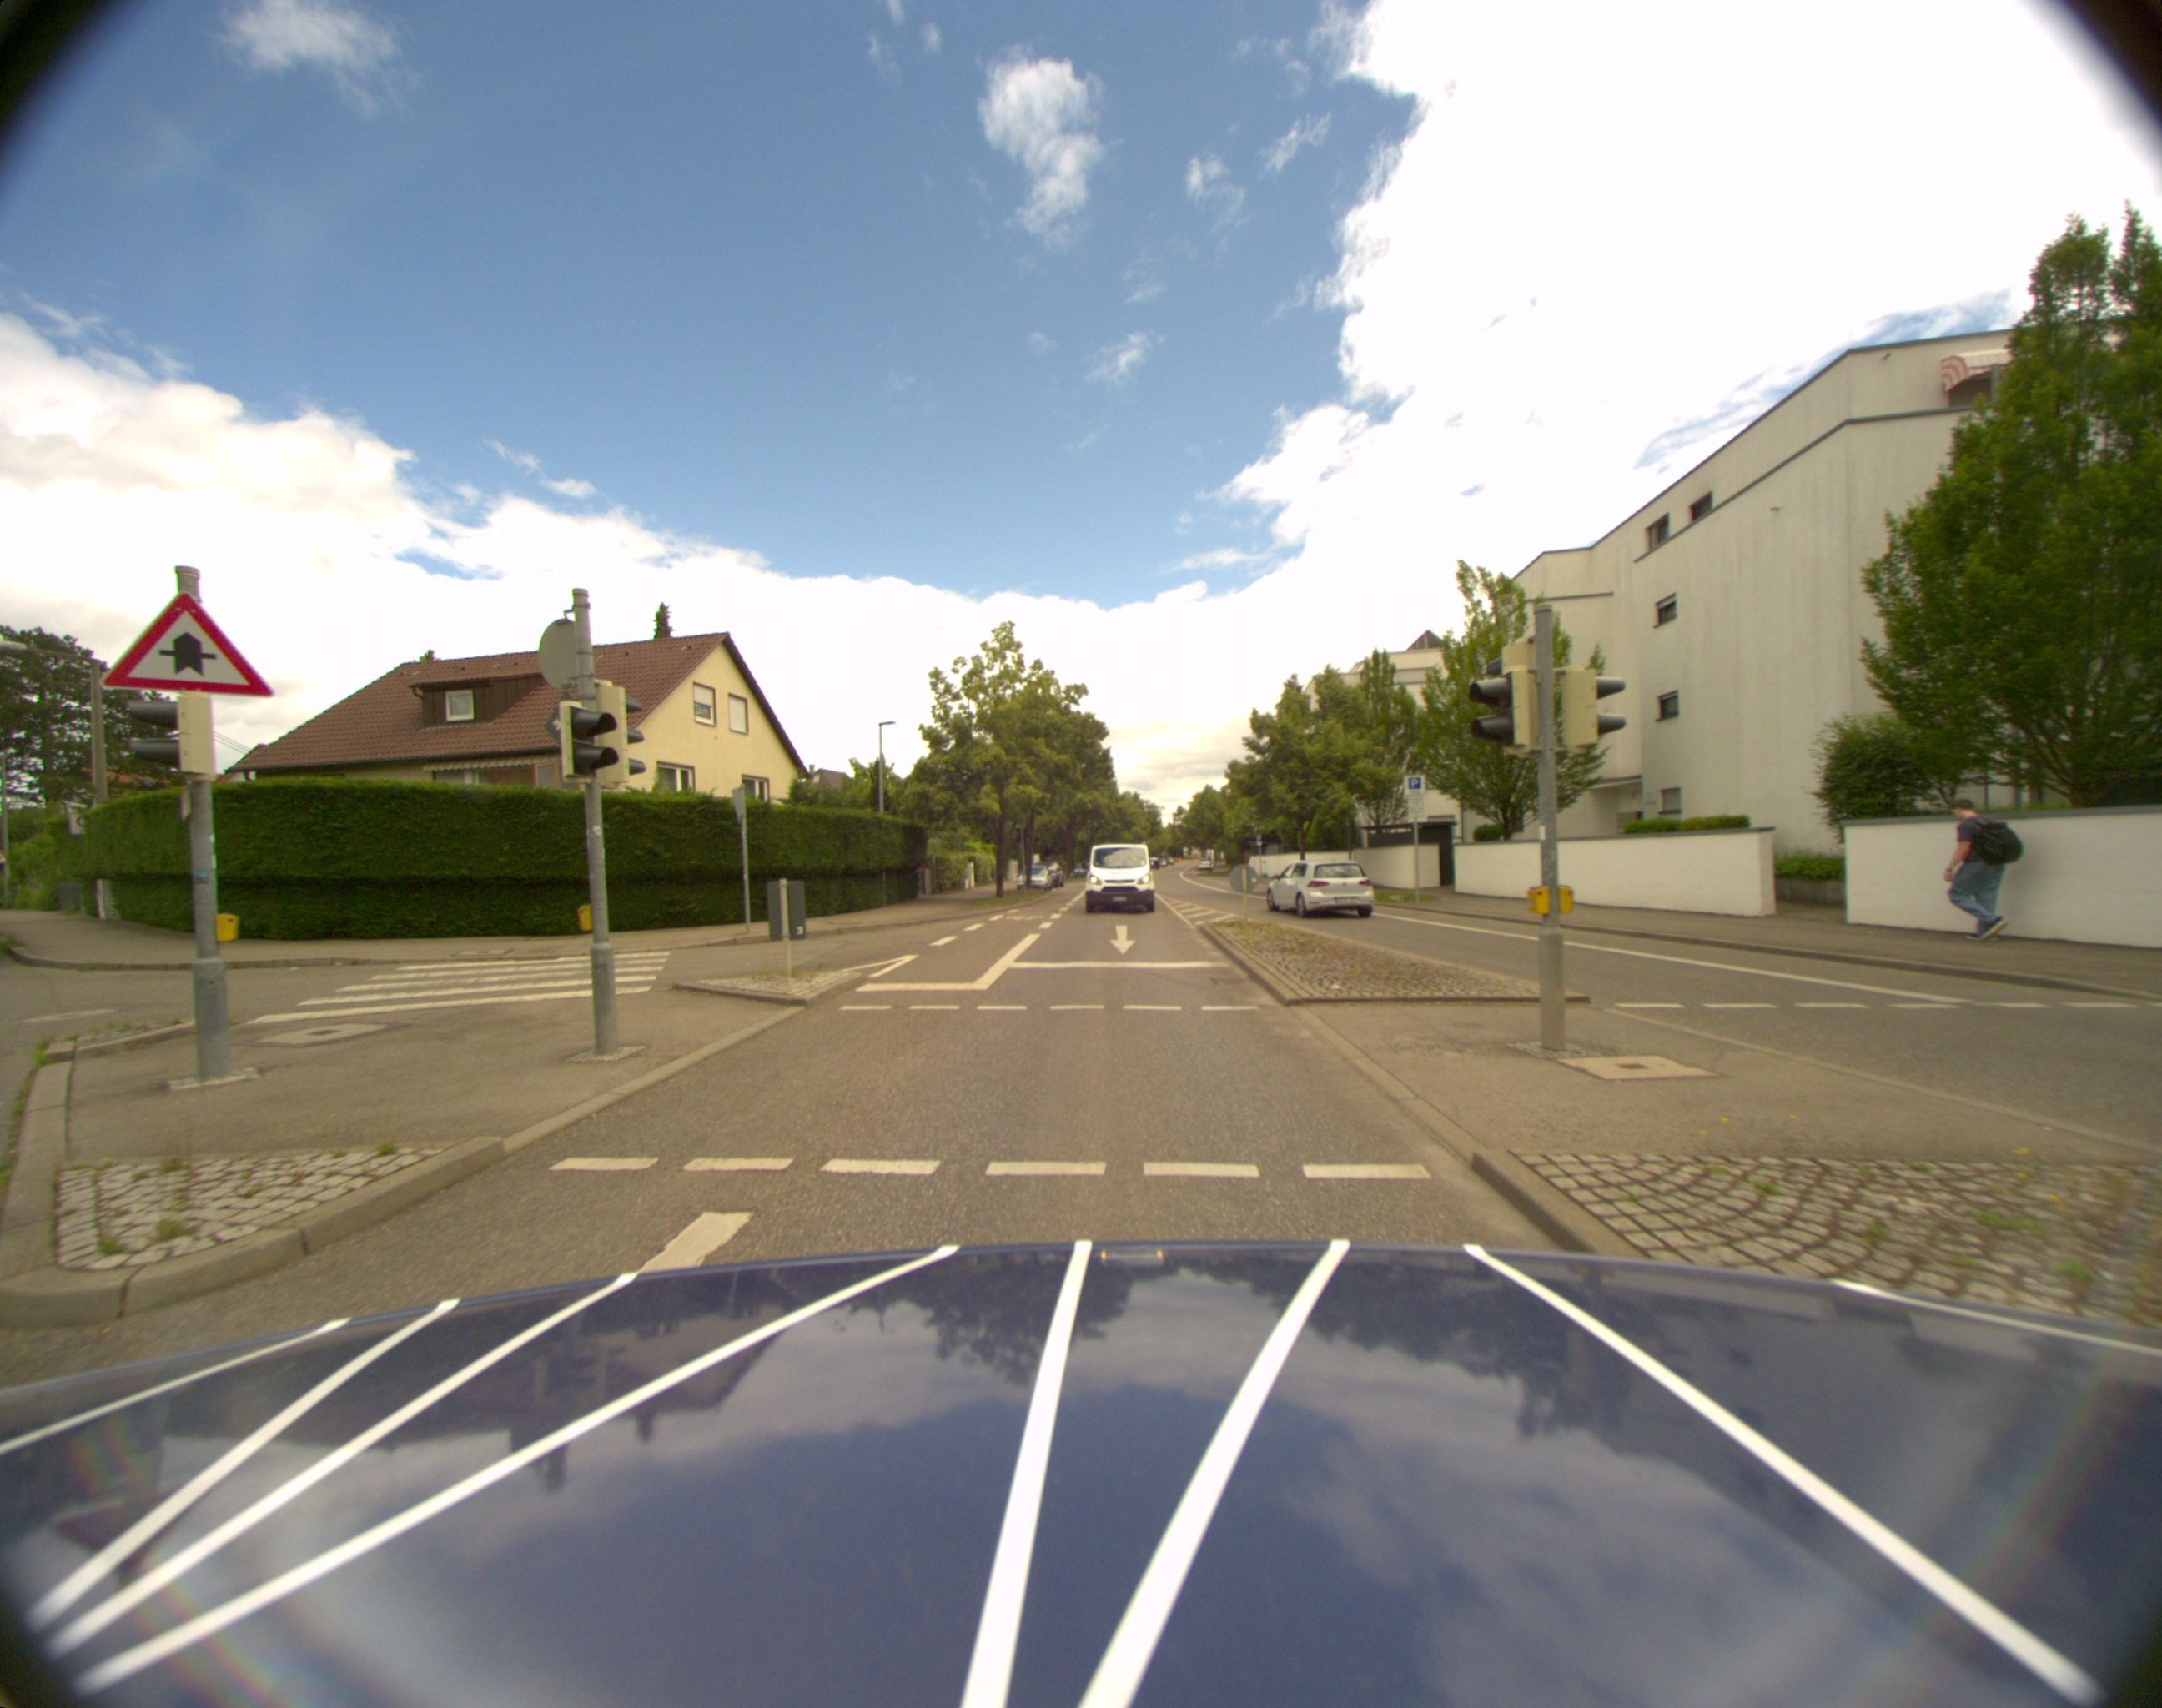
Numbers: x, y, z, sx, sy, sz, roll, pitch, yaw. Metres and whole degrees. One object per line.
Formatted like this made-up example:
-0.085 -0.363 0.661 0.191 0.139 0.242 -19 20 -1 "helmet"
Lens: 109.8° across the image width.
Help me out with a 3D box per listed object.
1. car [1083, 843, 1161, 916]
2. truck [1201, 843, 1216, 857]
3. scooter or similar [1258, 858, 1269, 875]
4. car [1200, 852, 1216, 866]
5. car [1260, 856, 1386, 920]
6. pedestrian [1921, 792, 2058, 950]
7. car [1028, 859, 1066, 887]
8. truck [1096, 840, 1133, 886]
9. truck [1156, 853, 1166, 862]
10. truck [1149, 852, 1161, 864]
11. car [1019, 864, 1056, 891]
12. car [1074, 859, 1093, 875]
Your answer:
1.370 0.686 23.463 2.074 1.956 5.559 -1 0 5 "car"
25.276 -0.809 150.680 2.640 2.757 6.261 -2 0 9 "truck"
13.285 0.926 55.289 0.434 1.159 1.327 -5 0 4 "scooter or similar"
16.421 0.623 98.088 1.915 1.643 4.003 -2 0 11 "car"
6.177 0.799 19.894 1.803 1.435 3.947 -2 0 -4 "car"
11.898 0.215 9.979 0.650 1.937 0.871 -5 1 -2 "pedestrian"
-2.053 1.142 47.154 1.769 1.626 4.549 -2 0 5 "car"
2.067 0.526 46.287 2.035 2.555 6.059 -1 0 3 "truck"
14.473 0.658 137.186 1.617 1.649 4.002 -1 0 8 "truck"
11.225 0.545 114.581 1.614 1.780 4.002 -1 0 8 "truck"
-2.309 1.229 41.094 1.561 1.343 3.541 -1 0 3 "car"
0.287 1.268 74.874 1.666 1.398 3.658 -2 0 4 "car"
